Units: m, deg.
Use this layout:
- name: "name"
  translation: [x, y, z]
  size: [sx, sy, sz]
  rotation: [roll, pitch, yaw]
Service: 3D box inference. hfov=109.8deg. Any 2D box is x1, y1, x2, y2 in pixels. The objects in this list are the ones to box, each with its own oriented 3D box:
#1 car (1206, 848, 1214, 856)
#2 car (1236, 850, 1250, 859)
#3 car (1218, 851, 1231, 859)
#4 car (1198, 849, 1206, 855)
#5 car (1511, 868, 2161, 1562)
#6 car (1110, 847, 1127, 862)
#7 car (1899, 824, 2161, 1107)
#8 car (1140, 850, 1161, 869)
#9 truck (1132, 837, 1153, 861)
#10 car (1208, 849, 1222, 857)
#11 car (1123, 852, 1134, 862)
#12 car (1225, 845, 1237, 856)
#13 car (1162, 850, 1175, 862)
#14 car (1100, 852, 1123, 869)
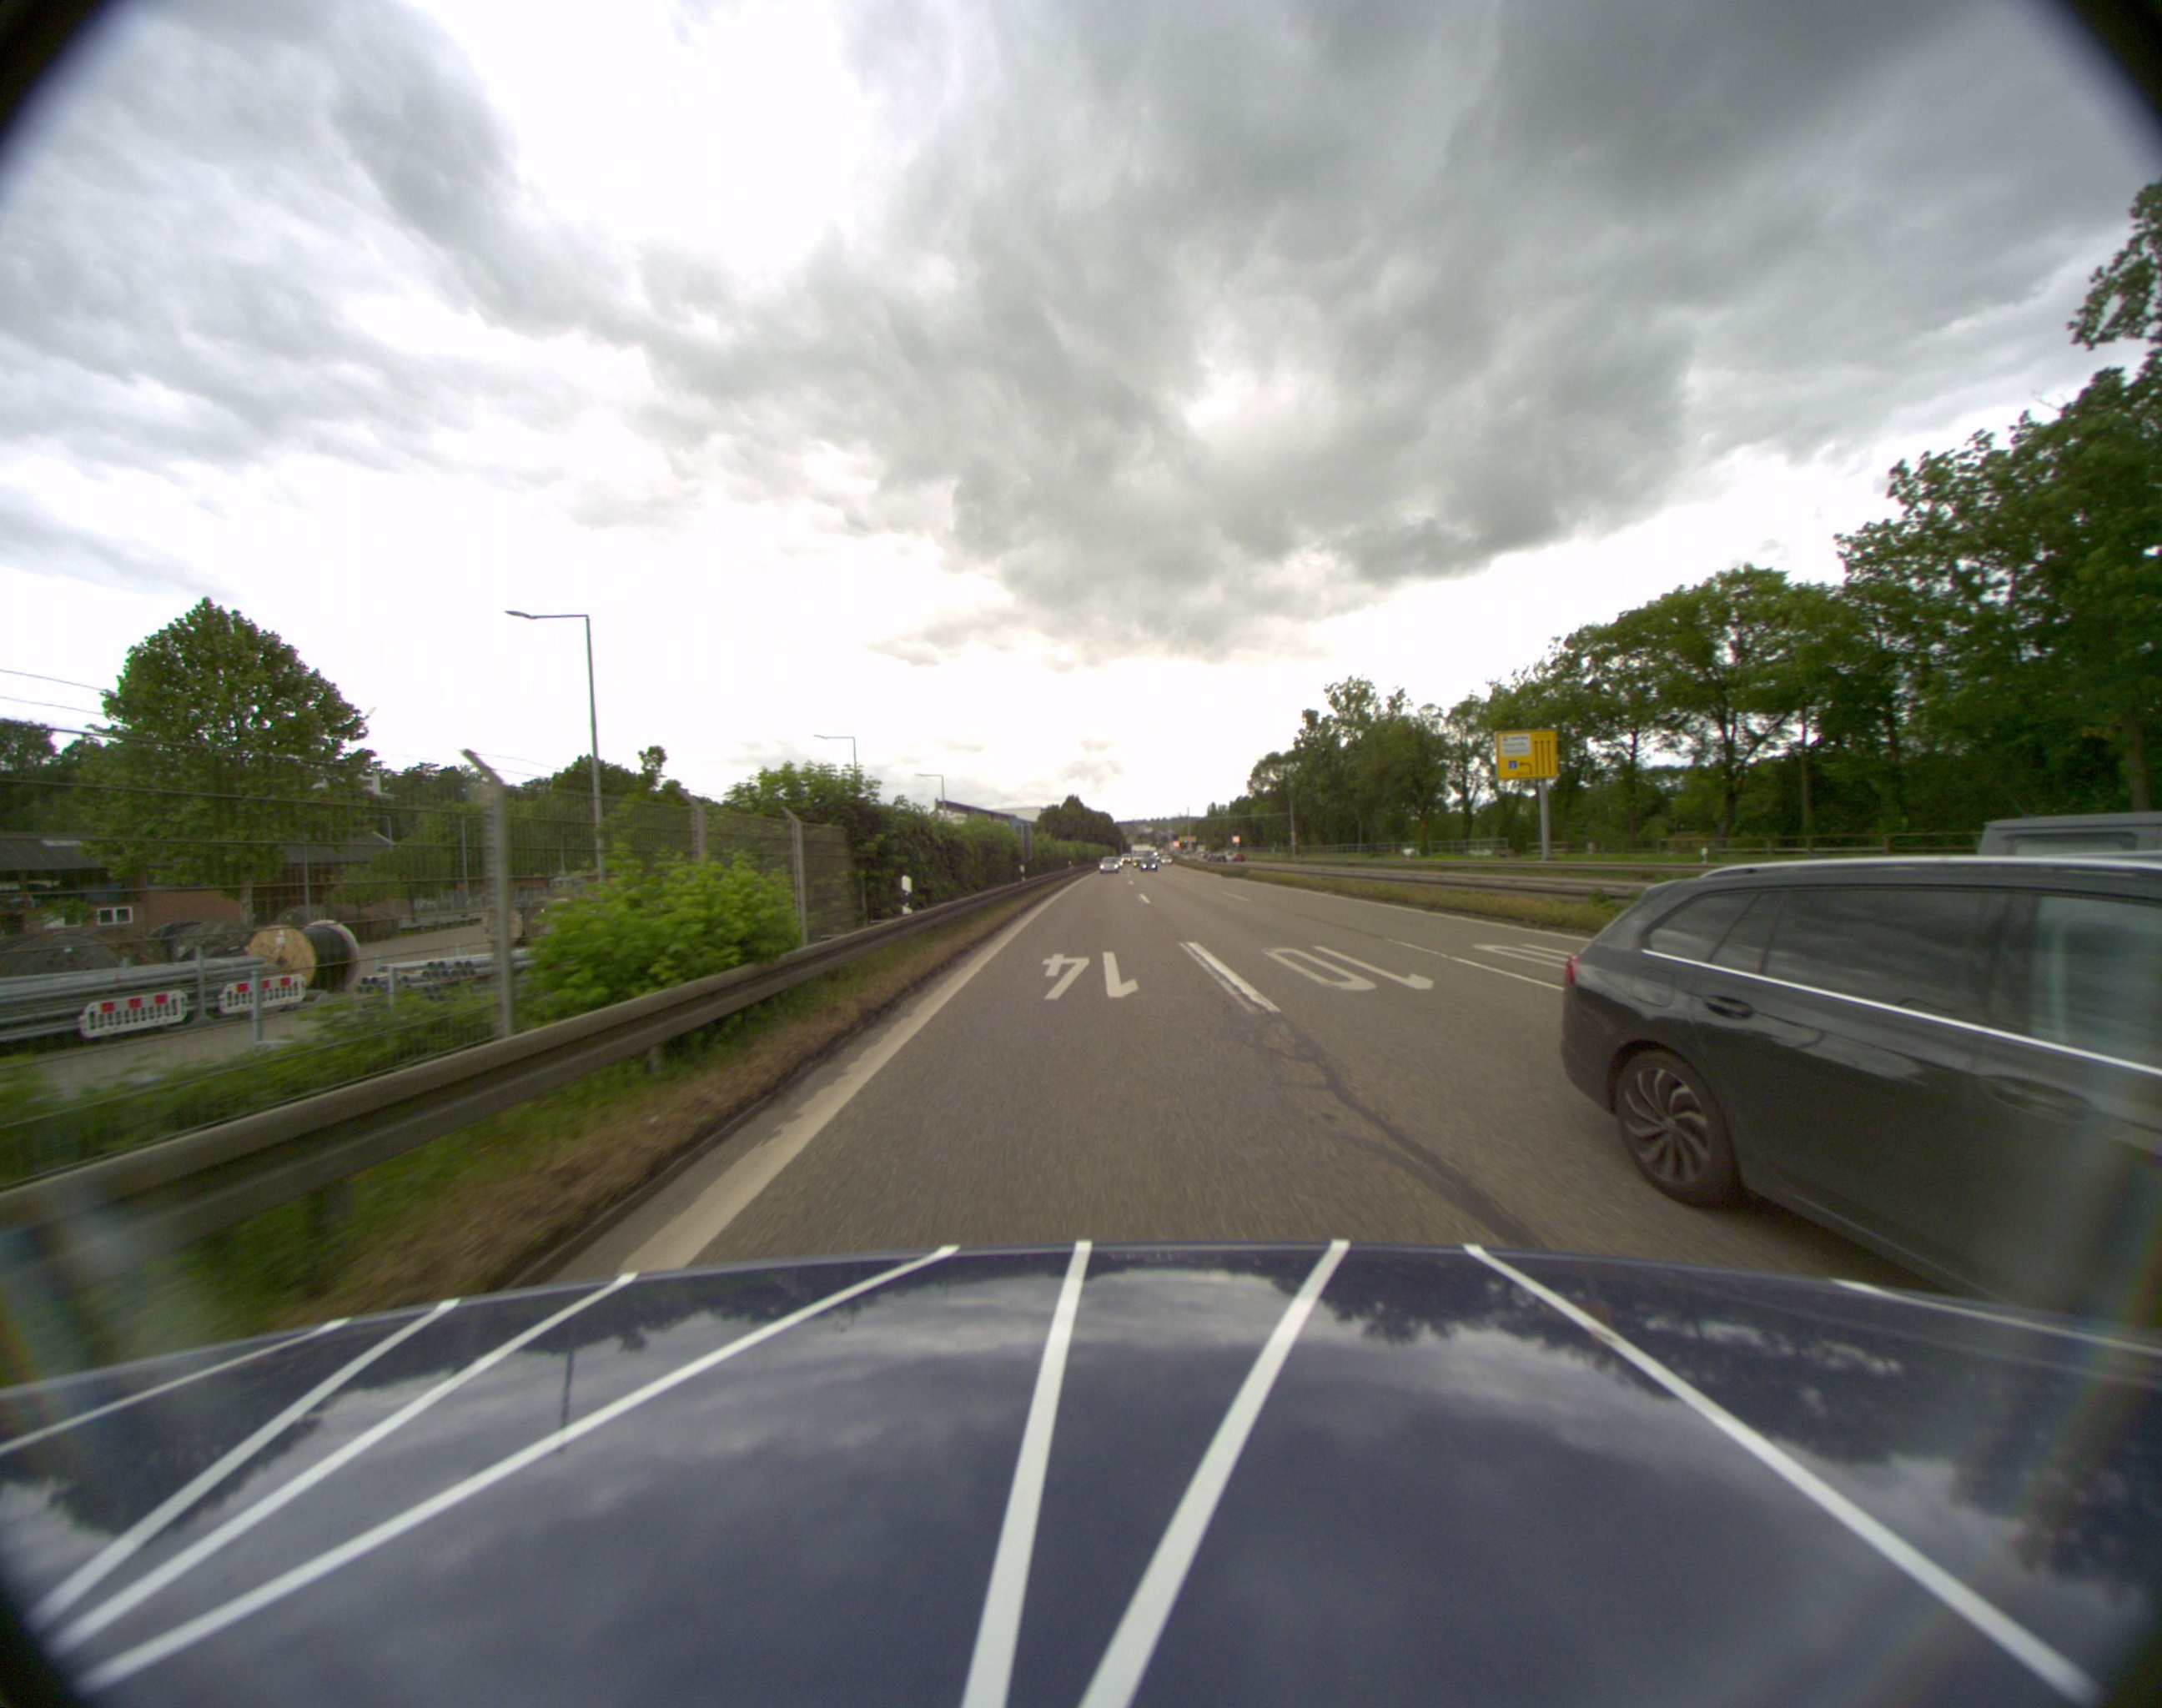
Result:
- name: "car"
  translation: [32.176, -0.528, 189.958]
  size: [1.730, 1.764, 3.743]
  rotation: [-2, 0, 6]
- name: "car"
  translation: [27.896, 0.007, 130.973]
  size: [1.721, 1.456, 4.382]
  rotation: [-2, 0, 4]
- name: "car"
  translation: [23.845, 0.161, 126.534]
  size: [1.664, 1.415, 3.912]
  rotation: [-2, 0, 4]
- name: "car"
  translation: [35.996, -0.600, 226.380]
  size: [1.871, 1.665, 4.720]
  rotation: [-2, 0, 5]
- name: "car"
  translation: [3.309, 0.829, 1.768]
  size: [1.849, 1.415, 4.901]
  rotation: [-3, 0, 1]
- name: "car"
  translation: [4.787, 0.115, 95.913]
  size: [1.883, 1.714, 4.148]
  rotation: [-3, -1, 5]
- name: "car"
  translation: [7.230, 0.652, 3.948]
  size: [1.702, 1.676, 4.000]
  rotation: [-1, 0, 1]
- name: "car"
  translation: [7.010, 0.562, 76.748]
  size: [1.883, 1.714, 4.148]
  rotation: [-3, -1, 5]
- name: "truck"
  translation: [8.659, -0.614, 106.117]
  size: [2.656, 3.120, 12.514]
  rotation: [-3, -1, 5]
- name: "car"
  translation: [25.169, -0.183, 143.035]
  size: [1.865, 1.456, 5.552]
  rotation: [-2, 0, 4]
- name: "car"
  translation: [9.192, 0.635, 146.936]
  size: [1.883, 1.714, 4.148]
  rotation: [-3, -1, 5]
- name: "car"
  translation: [28.810, -0.664, 145.613]
  size: [1.614, 1.872, 4.563]
  rotation: [-2, 0, 4]
- name: "car"
  translation: [13.827, 0.278, 120.241]
  size: [1.883, 1.714, 4.148]
  rotation: [-3, -1, 5]
- name: "car"
  translation: [2.998, 0.639, 73.916]
  size: [1.883, 1.530, 4.148]
  rotation: [-3, -1, 5]
